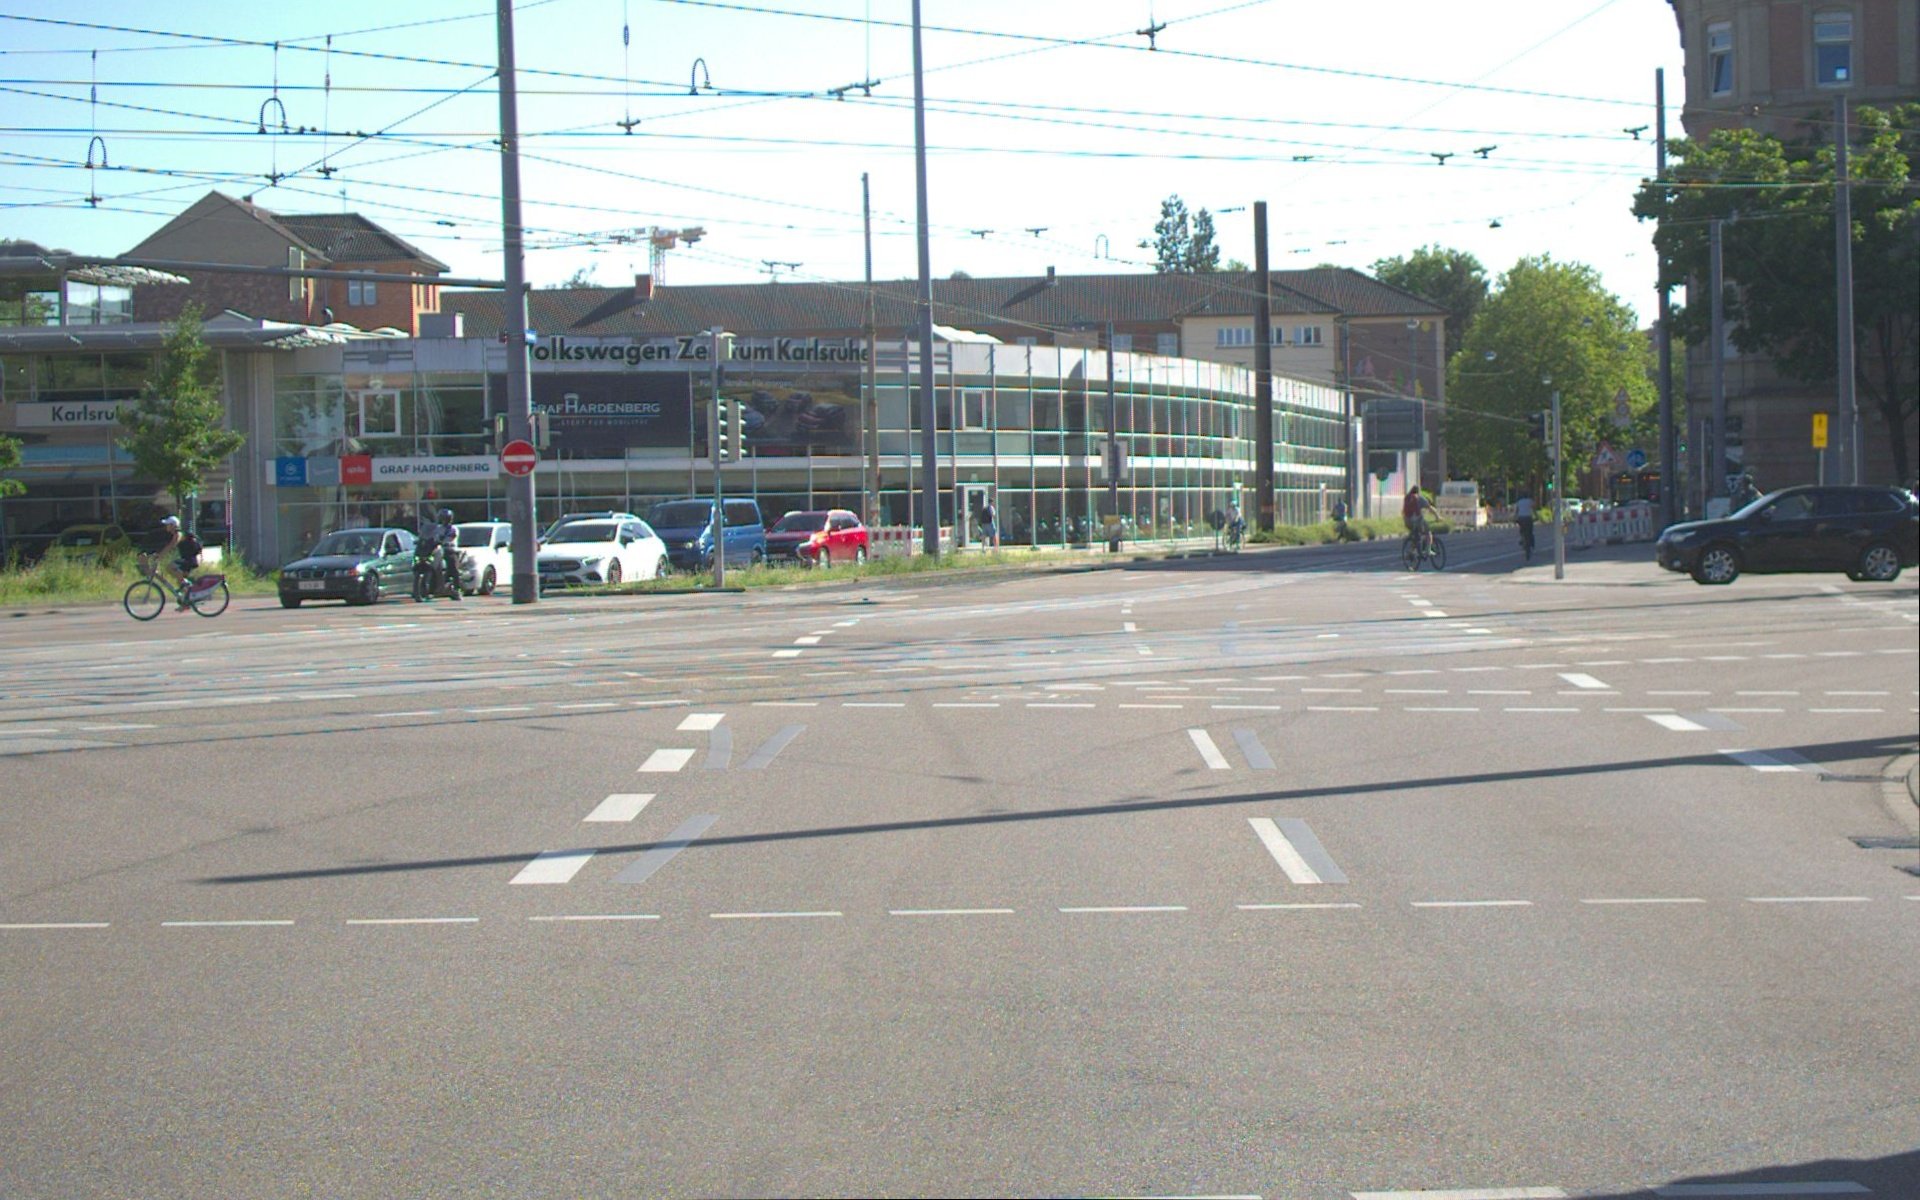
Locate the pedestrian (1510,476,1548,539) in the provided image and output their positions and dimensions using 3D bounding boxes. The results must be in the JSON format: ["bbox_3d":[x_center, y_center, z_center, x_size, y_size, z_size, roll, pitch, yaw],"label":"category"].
[{"bbox_3d":[13.890,-2.251,83.896,0.747,1.517,0.717,0,1,22],"label":"pedestrian"}]

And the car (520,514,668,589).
[{"bbox_3d":[-7.124,-0.970,67.273,1.627,1.377,3.735,-1,1,15],"label":"car"}]

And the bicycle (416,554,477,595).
[{"bbox_3d":[-9.353,-0.470,62.703,0.423,0.715,1.633,-1,2,17],"label":"bicycle"}]

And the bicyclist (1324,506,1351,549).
[{"bbox_3d":[14.273,-2.751,130.007,0.810,1.618,0.928,-1,1,21],"label":"bicyclist"}]

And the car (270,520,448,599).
[{"bbox_3d":[-11.017,-0.760,63.227,1.705,1.349,3.698,-1,2,17],"label":"car"}]

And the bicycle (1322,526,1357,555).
[{"bbox_3d":[14.397,-2.263,130.285,0.810,1.041,2.125,-1,1,21],"label":"bicycle"}]

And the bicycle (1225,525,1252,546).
[{"bbox_3d":[9.817,-2.282,121.215,0.423,0.715,1.473,0,2,26],"label":"bicycle"}]

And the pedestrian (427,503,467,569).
[{"bbox_3d":[-9.359,-1.168,62.707,0.423,1.200,0.749,-1,1,17],"label":"pedestrian"}]

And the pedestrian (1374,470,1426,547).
[{"bbox_3d":[9.433,-1.965,73.735,0.716,1.626,0.805,-2,2,-45],"label":"pedestrian"}]

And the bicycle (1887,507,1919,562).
[{"bbox_3d":[19.780,-1.357,70.684,0.548,1.116,2.014,0,2,41],"label":"bicycle"}]

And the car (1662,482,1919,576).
[{"bbox_3d":[14.189,-1.213,58.310,4.251,1.497,1.704,-1,1,4],"label":"car"}]

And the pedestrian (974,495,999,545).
[{"bbox_3d":[0.883,-2.709,116.082,0.543,1.683,0.629,0,2,40],"label":"pedestrian"}]

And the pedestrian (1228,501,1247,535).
[{"bbox_3d":[9.787,-2.898,121.160,0.423,1.200,0.679,0,1,26],"label":"pedestrian"}]

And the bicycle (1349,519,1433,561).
[{"bbox_3d":[9.222,-1.279,73.478,0.745,0.867,1.926,0,2,45],"label":"bicycle"}]

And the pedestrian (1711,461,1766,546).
[{"bbox_3d":[15.085,-1.862,66.603,0.716,1.626,0.758,-2,2,-42],"label":"pedestrian"}]

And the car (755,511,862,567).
[{"bbox_3d":[-3.871,-1.583,88.392,1.627,1.359,3.683,-1,1,17],"label":"car"}]

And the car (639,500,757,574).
[{"bbox_3d":[-6.162,-1.499,81.279,1.627,1.686,3.683,-1,1,15],"label":"car"}]

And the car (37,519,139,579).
[{"bbox_3d":[-25.922,-1.531,102.318,1.966,1.700,4.084,-1,1,0],"label":"car"}]

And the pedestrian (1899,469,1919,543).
[{"bbox_3d":[19.692,-1.923,70.568,0.548,1.511,0.705,0,2,41],"label":"pedestrian"}]

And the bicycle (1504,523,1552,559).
[{"bbox_3d":[13.843,-1.441,83.761,0.744,0.867,1.929,0,1,21],"label":"bicycle"}]

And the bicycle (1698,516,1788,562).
[{"bbox_3d":[15.193,-1.190,66.703,1.926,0.867,0.745,-2,2,-43],"label":"bicycle"}]

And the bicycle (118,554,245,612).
[{"bbox_3d":[-13.009,-0.293,57.464,2.004,0.910,0.562,-2,1,-18],"label":"bicycle"}]

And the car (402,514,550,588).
[{"bbox_3d":[-9.711,-1.007,69.171,1.627,1.419,3.683,-1,1,15],"label":"car"}]

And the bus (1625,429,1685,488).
[{"bbox_3d":[50.146,-10.111,247.383,3.839,3.595,24.853,1,1,12],"label":"bus"}]

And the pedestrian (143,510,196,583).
[{"bbox_3d":[-13.193,-0.890,57.392,0.793,1.200,0.560,-1,1,-18],"label":"pedestrian"}]
